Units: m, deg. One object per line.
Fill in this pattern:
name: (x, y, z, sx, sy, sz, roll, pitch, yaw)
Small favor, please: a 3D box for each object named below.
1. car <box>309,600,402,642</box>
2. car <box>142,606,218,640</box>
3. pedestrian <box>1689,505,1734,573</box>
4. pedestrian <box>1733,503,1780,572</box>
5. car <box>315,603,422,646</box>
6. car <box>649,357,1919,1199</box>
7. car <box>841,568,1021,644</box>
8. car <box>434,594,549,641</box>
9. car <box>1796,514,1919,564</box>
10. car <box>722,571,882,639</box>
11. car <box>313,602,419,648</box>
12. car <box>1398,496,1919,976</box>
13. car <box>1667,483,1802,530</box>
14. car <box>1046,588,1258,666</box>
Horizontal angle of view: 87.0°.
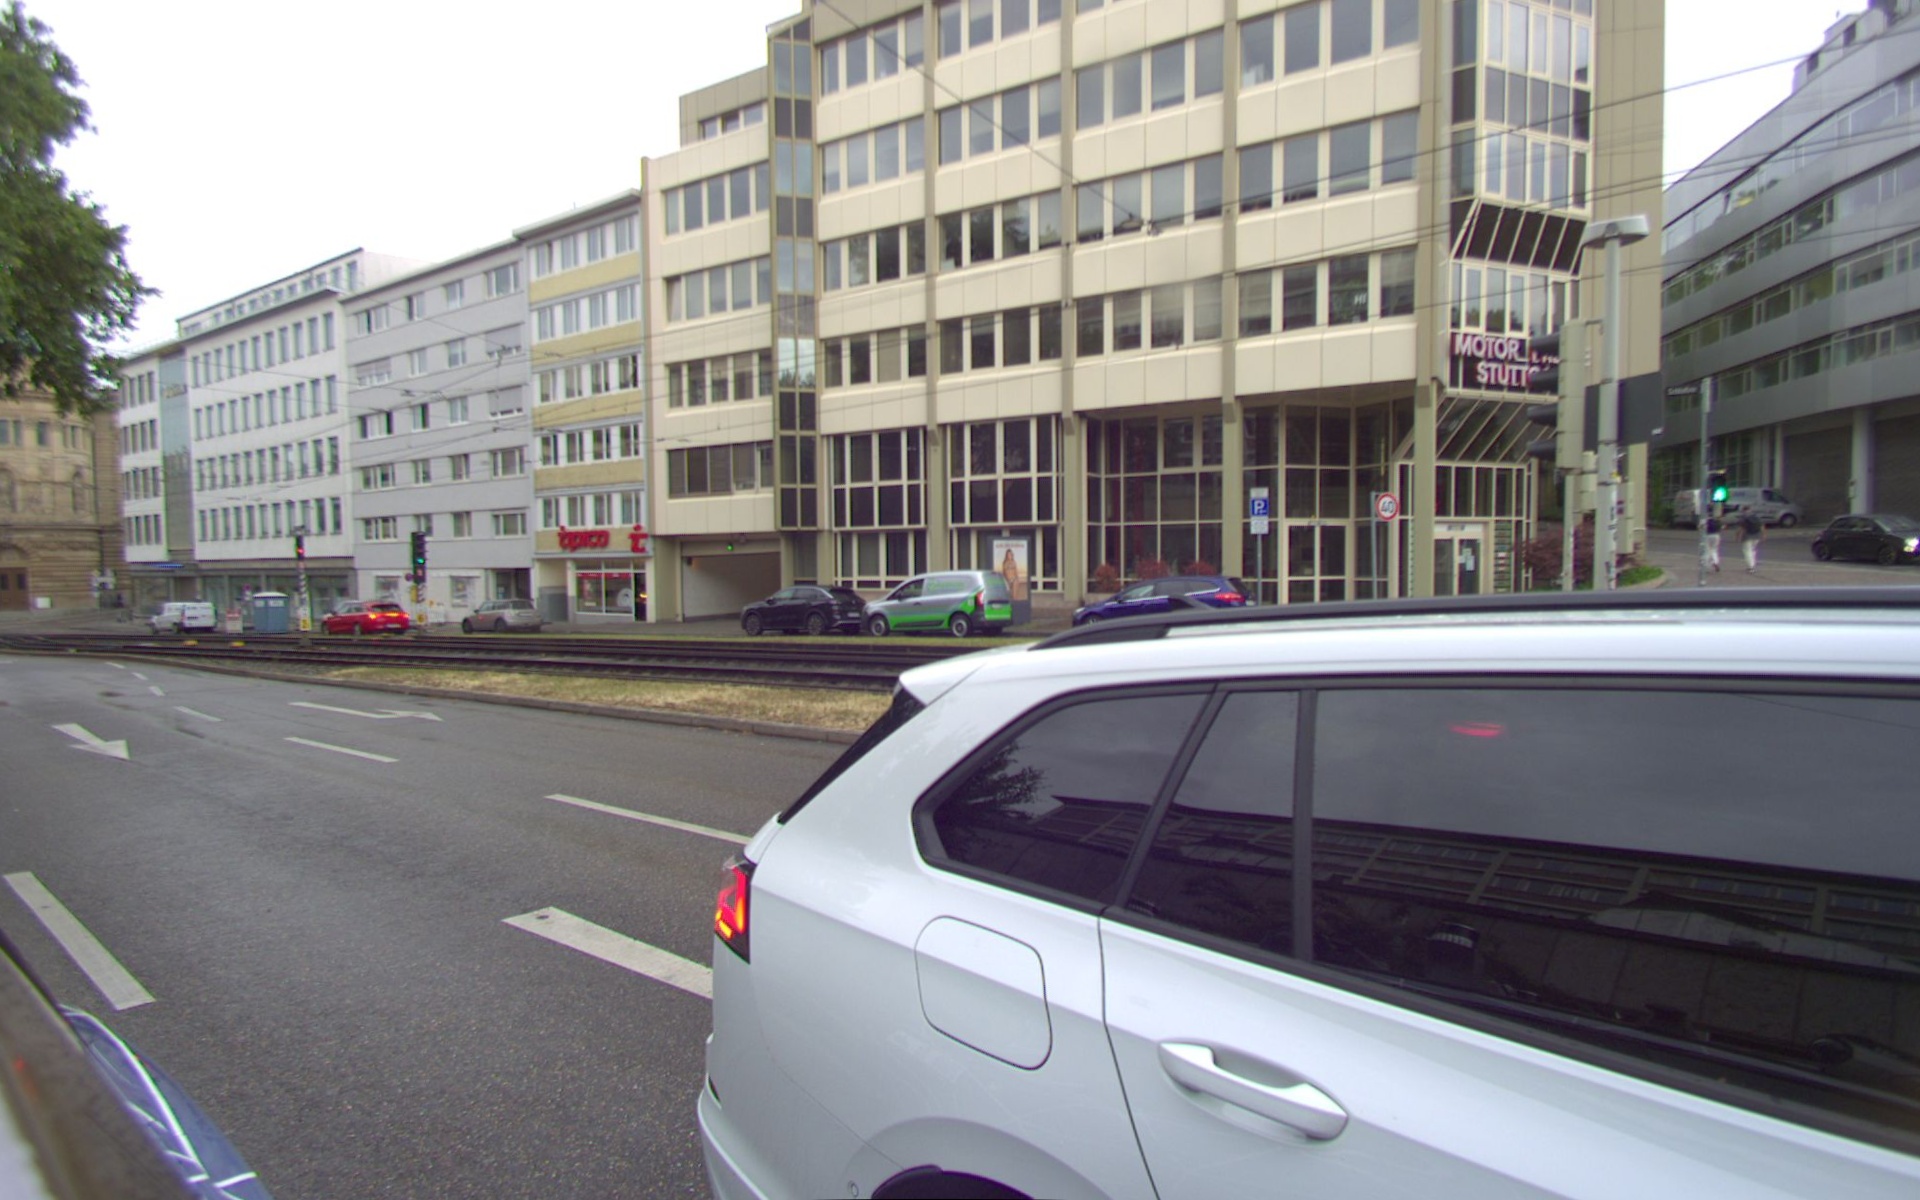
car: (-28.353, 1.000, 47.444, 4.686, 1.686, 1.977, -2, 3, 36)
car: (-46.830, 1.341, 60.756, 5.117, 1.856, 1.978, 0, 4, 34)
pedestrian: (20.400, -1.648, 27.500, 0.804, 1.800, 0.637, -1, 3, 18)
pedestrian: (21.525, -1.684, 27.359, 0.804, 1.800, 0.637, -1, 3, 18)
car: (-23.964, 0.942, 40.966, 4.315, 1.498, 1.978, 0, 4, 33)
car: (1.605, 0.591, 1.038, 4.251, 1.588, 1.662, -1, 1, 41)
car: (-0.843, 0.122, 28.011, 4.682, 1.863, 1.978, 0, 4, 34)
car: (-18.940, 0.656, 40.842, 4.682, 1.686, 1.978, 0, 4, 34)
car: (27.732, -1.841, 30.388, 1.803, 1.374, 4.004, -2, 3, -3)
car: (-4.873, 0.124, 30.926, 4.682, 1.863, 1.978, 0, 4, 34)
car: (-24.111, 0.967, 41.020, 4.405, 1.652, 1.964, 0, 3, 34)
car: (4.181, 0.352, 3.347, 4.638, 1.478, 1.974, -2, 2, 39)
car: (37.329, -4.488, 48.919, 4.779, 2.028, 1.996, -2, 3, 8)
car: (4.535, 0.578, 24.076, 4.536, 1.593, 1.978, 0, 4, 34)
